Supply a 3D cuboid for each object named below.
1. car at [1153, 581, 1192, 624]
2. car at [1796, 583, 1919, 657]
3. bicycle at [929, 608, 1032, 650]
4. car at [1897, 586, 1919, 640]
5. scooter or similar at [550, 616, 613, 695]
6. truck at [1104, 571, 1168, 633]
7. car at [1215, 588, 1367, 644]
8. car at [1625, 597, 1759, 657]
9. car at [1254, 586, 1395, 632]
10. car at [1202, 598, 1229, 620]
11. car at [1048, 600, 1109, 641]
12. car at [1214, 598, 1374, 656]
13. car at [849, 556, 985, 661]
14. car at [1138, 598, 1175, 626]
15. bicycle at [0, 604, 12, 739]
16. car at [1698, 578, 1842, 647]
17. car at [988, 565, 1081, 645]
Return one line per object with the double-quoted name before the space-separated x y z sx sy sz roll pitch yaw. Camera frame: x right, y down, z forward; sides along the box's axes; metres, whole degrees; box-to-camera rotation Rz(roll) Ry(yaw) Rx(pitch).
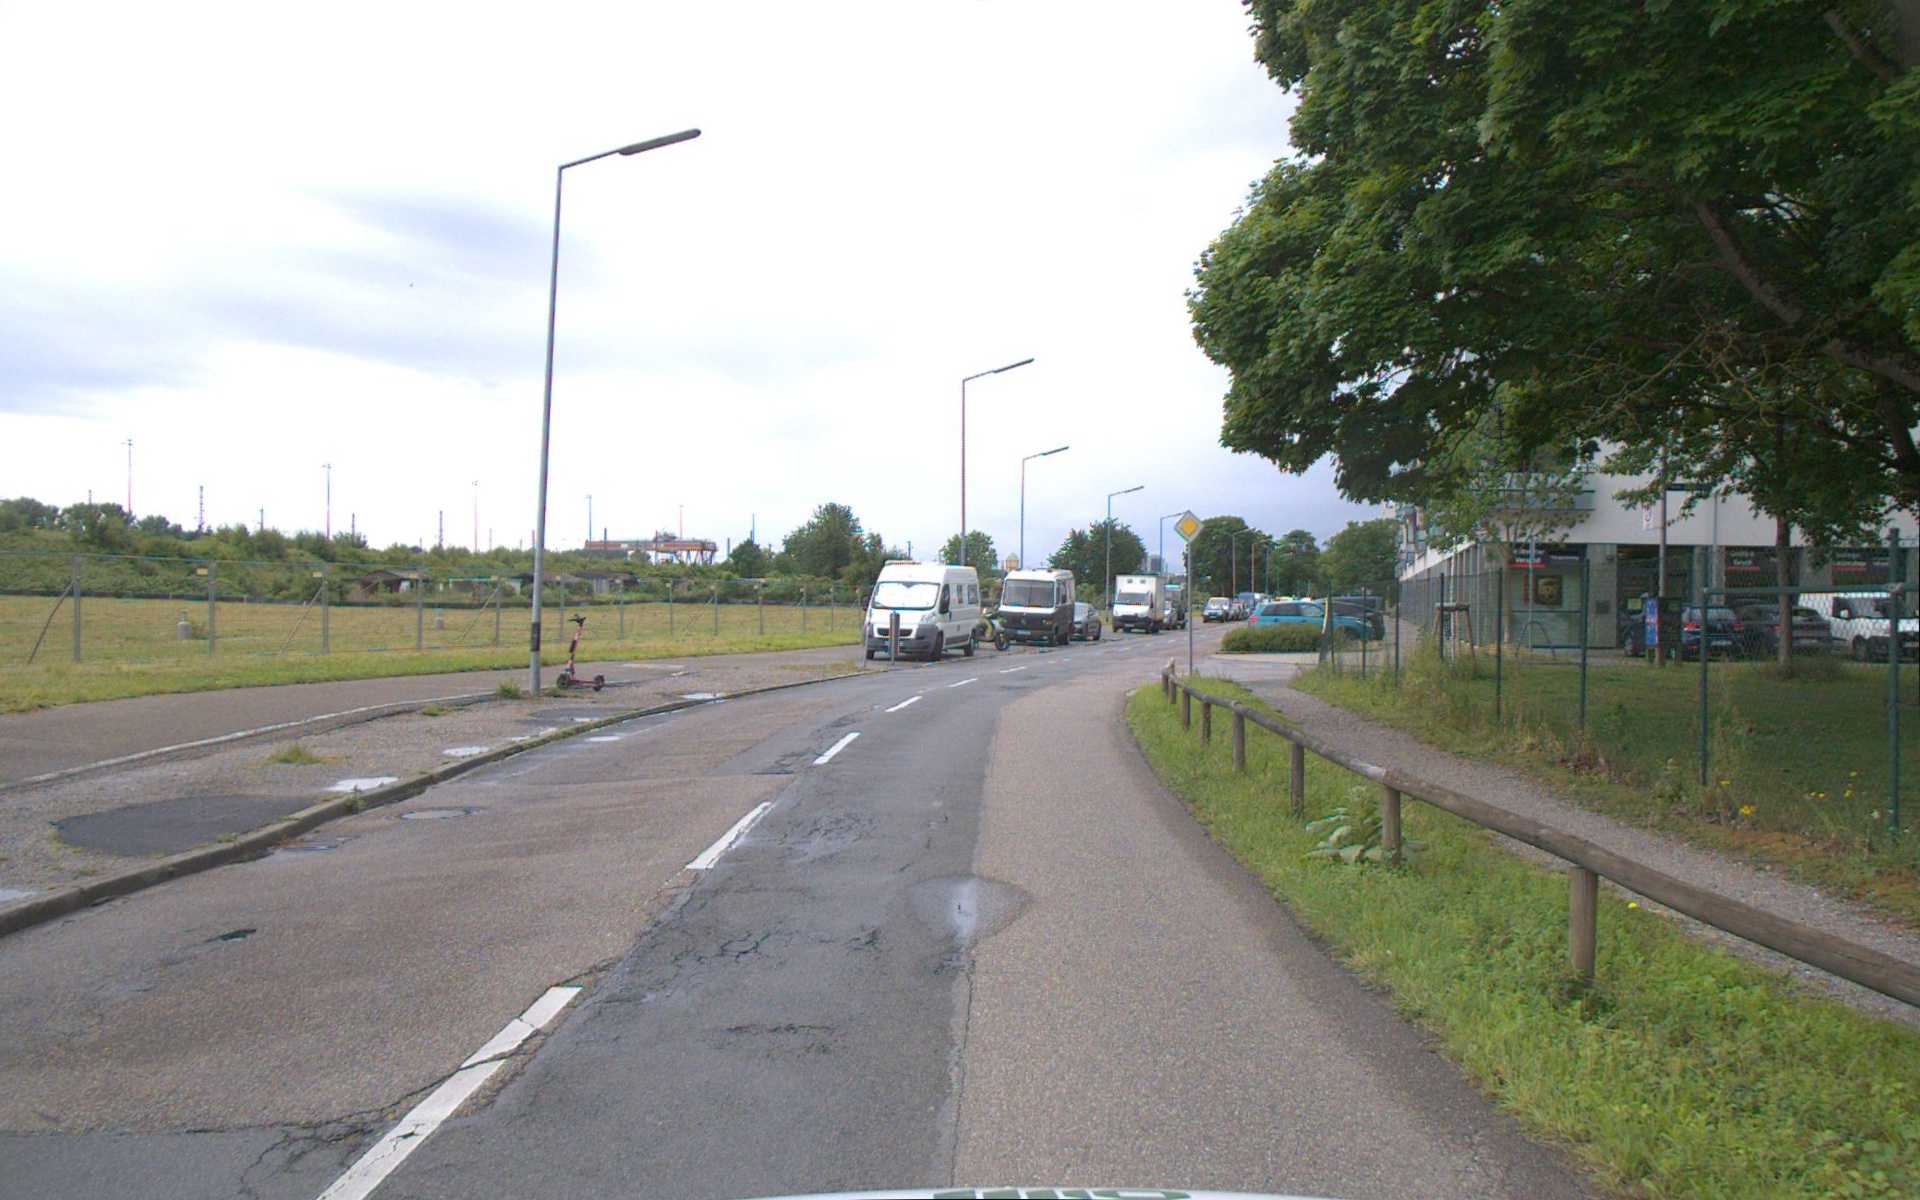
"car" 13.533 0.128 104.942 1.962 2.619 4.790 0 1 13
"car" 23.934 0.492 43.558 1.760 1.862 4.000 0 0 -1
"bicycle" 0.656 0.908 52.457 3.054 1.220 1.366 1 1 13
"car" 26.889 0.370 43.953 1.786 1.456 3.771 0 0 -2
"scooter or similar" -6.182 0.885 27.076 0.596 1.203 1.702 3 0 -1
"truck" 9.420 0.053 87.785 2.409 3.113 8.169 0 1 13
"car" 10.741 0.489 53.642 4.757 1.692 1.844 1 1 13
"car" 19.147 0.680 43.422 1.786 1.456 3.771 0 0 -2
"car" 12.881 0.300 58.449 4.757 1.526 1.844 1 1 13
"car" 20.314 0.709 131.404 1.614 1.692 3.578 1 1 16
"car" 4.850 0.801 67.359 1.741 1.531 4.003 0 1 15
"car" 10.333 0.816 51.211 4.757 1.644 1.844 1 1 13
"car" -1.042 0.165 44.566 2.240 2.600 6.416 0 1 12
"car" 11.584 0.715 97.420 1.717 1.551 4.004 0 1 13
"bicycle" -9.149 0.669 13.975 0.802 1.225 2.557 1 1 0
"car" 21.352 0.298 43.773 1.816 1.729 3.955 0 0 -2
"car" 2.820 0.130 60.999 2.251 2.782 6.097 1 1 14
